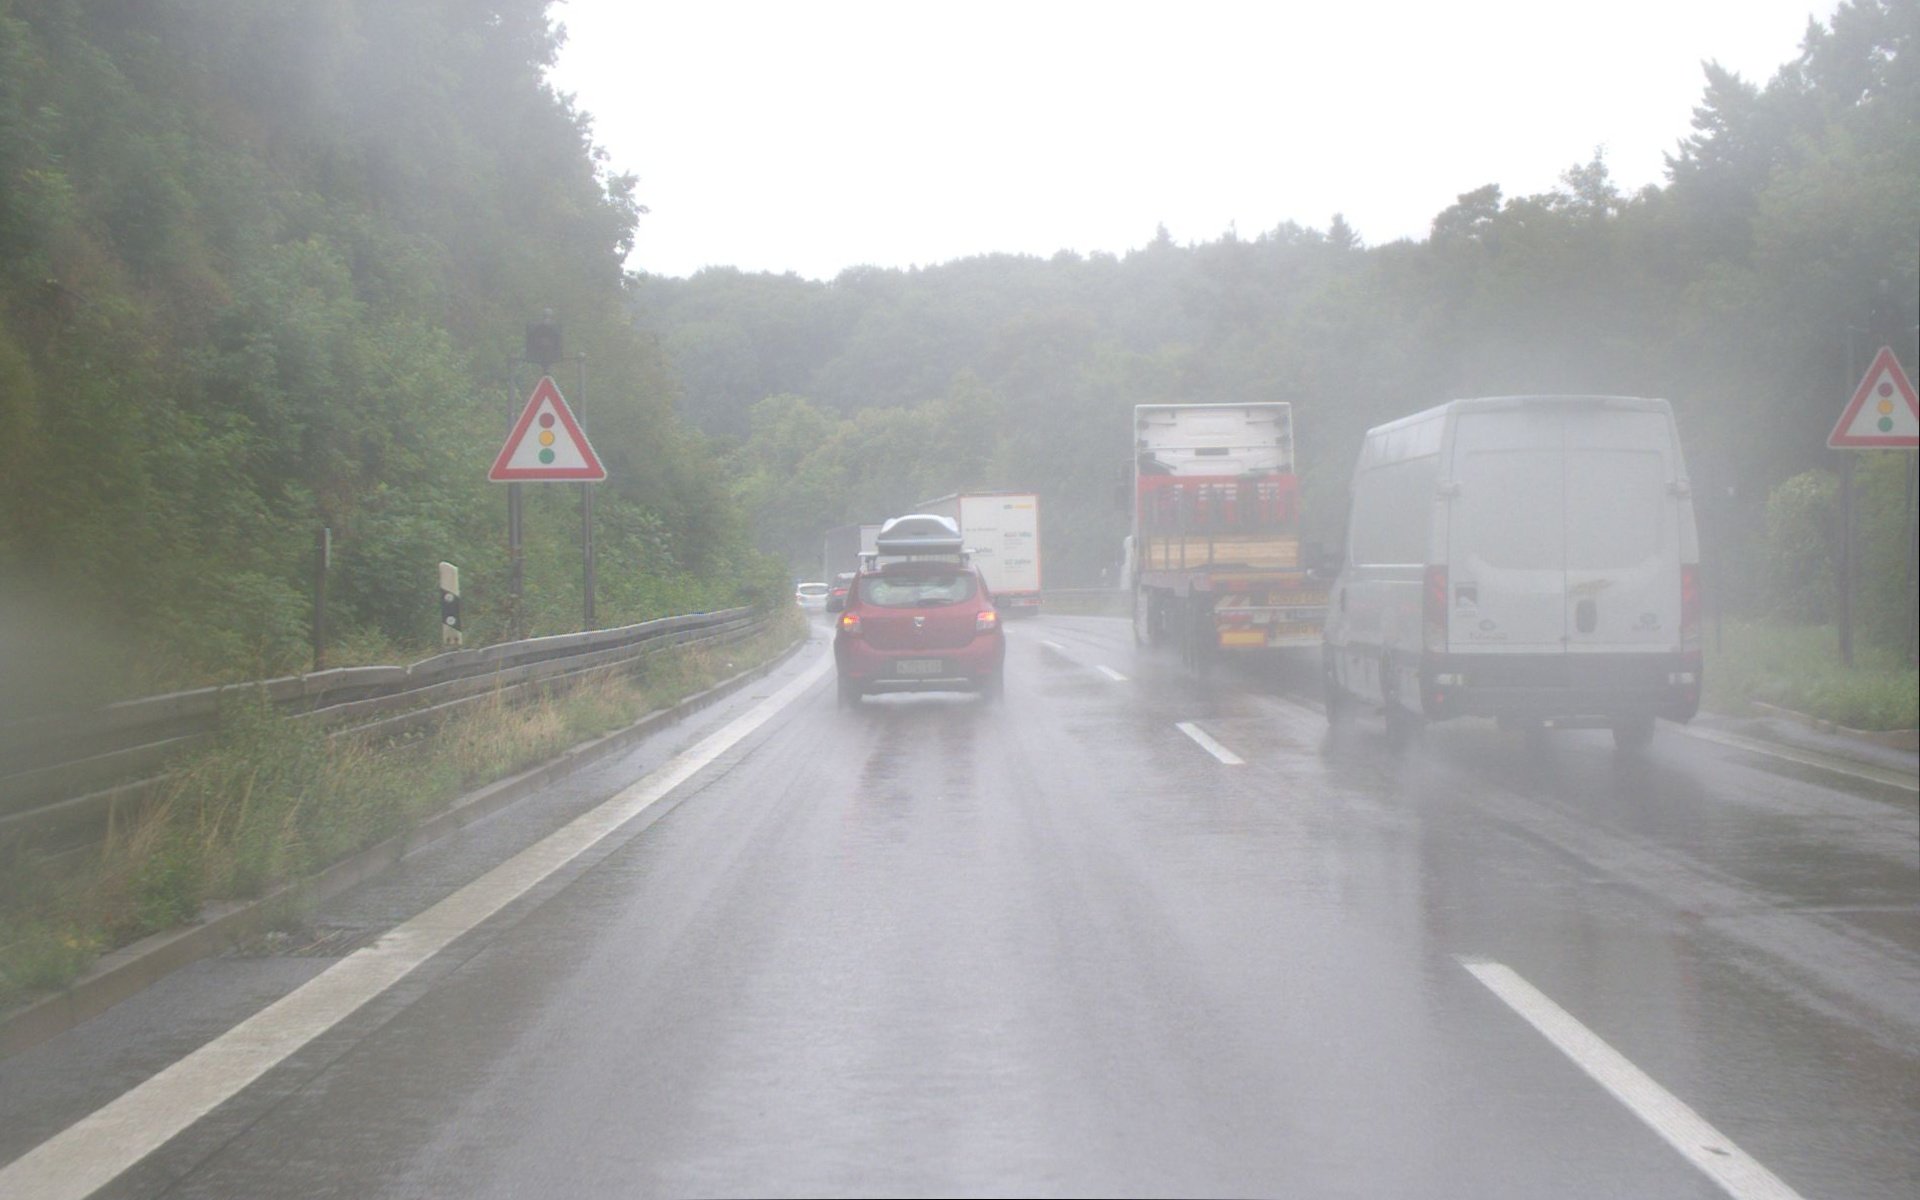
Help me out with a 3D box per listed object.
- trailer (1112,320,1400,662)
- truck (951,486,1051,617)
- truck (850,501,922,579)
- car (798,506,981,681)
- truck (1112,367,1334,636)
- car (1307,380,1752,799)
[{"bbox_3d":[3.759,-1.395,46.963,3.218,3.985,13.523,0,1,2],"label":"trailer"},{"bbox_3d":[1.290,-1.626,113.948,2.686,4.080,9.316,-2,1,-2],"label":"truck"},{"bbox_3d":[-3.224,-2.656,150.459,3.061,3.300,8.071,0,1,-1],"label":"truck"},{"bbox_3d":[-0.695,-0.101,36.048,1.758,1.679,4.000,-2,1,0],"label":"car"},{"bbox_3d":[4.011,-1.504,53.607,3.220,3.964,5.438,0,1,2],"label":"truck"},{"bbox_3d":[4.241,-0.135,27.064,2.206,2.784,7.383,2,1,0],"label":"car"}]
